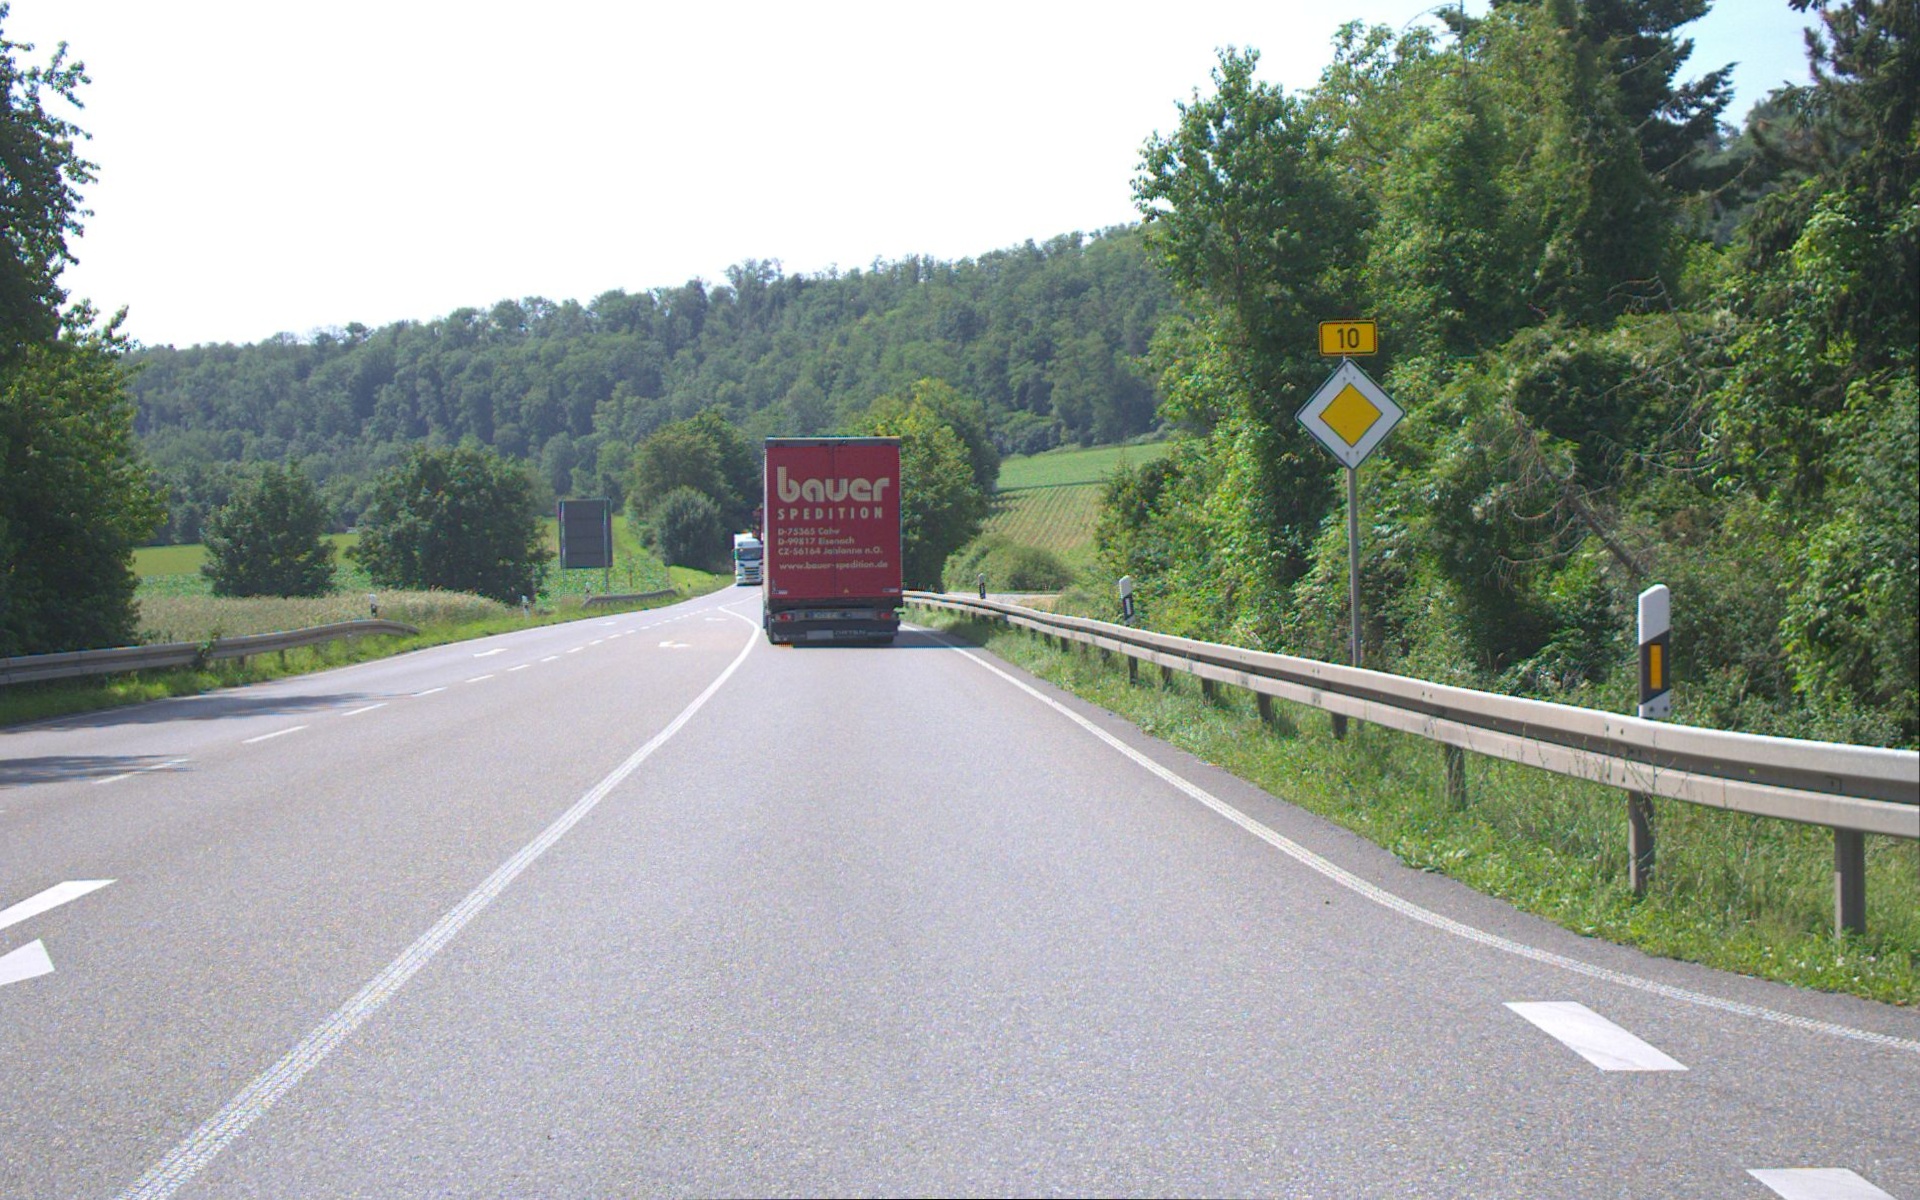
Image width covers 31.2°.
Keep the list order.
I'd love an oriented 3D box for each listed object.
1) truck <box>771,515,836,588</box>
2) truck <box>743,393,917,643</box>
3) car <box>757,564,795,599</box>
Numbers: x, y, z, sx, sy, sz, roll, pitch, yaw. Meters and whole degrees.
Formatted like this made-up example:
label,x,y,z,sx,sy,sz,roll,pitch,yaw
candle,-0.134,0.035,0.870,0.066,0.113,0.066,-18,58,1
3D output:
label,x,y,z,sx,sy,sz,roll,pitch,yaw
truck,-9.904,-3.001,216.781,3.904,4.355,13.294,1,0,-3
truck,-2.772,-1.623,70.987,3.172,4.609,13.545,-1,1,-3
car,-9.925,-1.005,185.227,1.993,1.804,4.000,2,0,-3
